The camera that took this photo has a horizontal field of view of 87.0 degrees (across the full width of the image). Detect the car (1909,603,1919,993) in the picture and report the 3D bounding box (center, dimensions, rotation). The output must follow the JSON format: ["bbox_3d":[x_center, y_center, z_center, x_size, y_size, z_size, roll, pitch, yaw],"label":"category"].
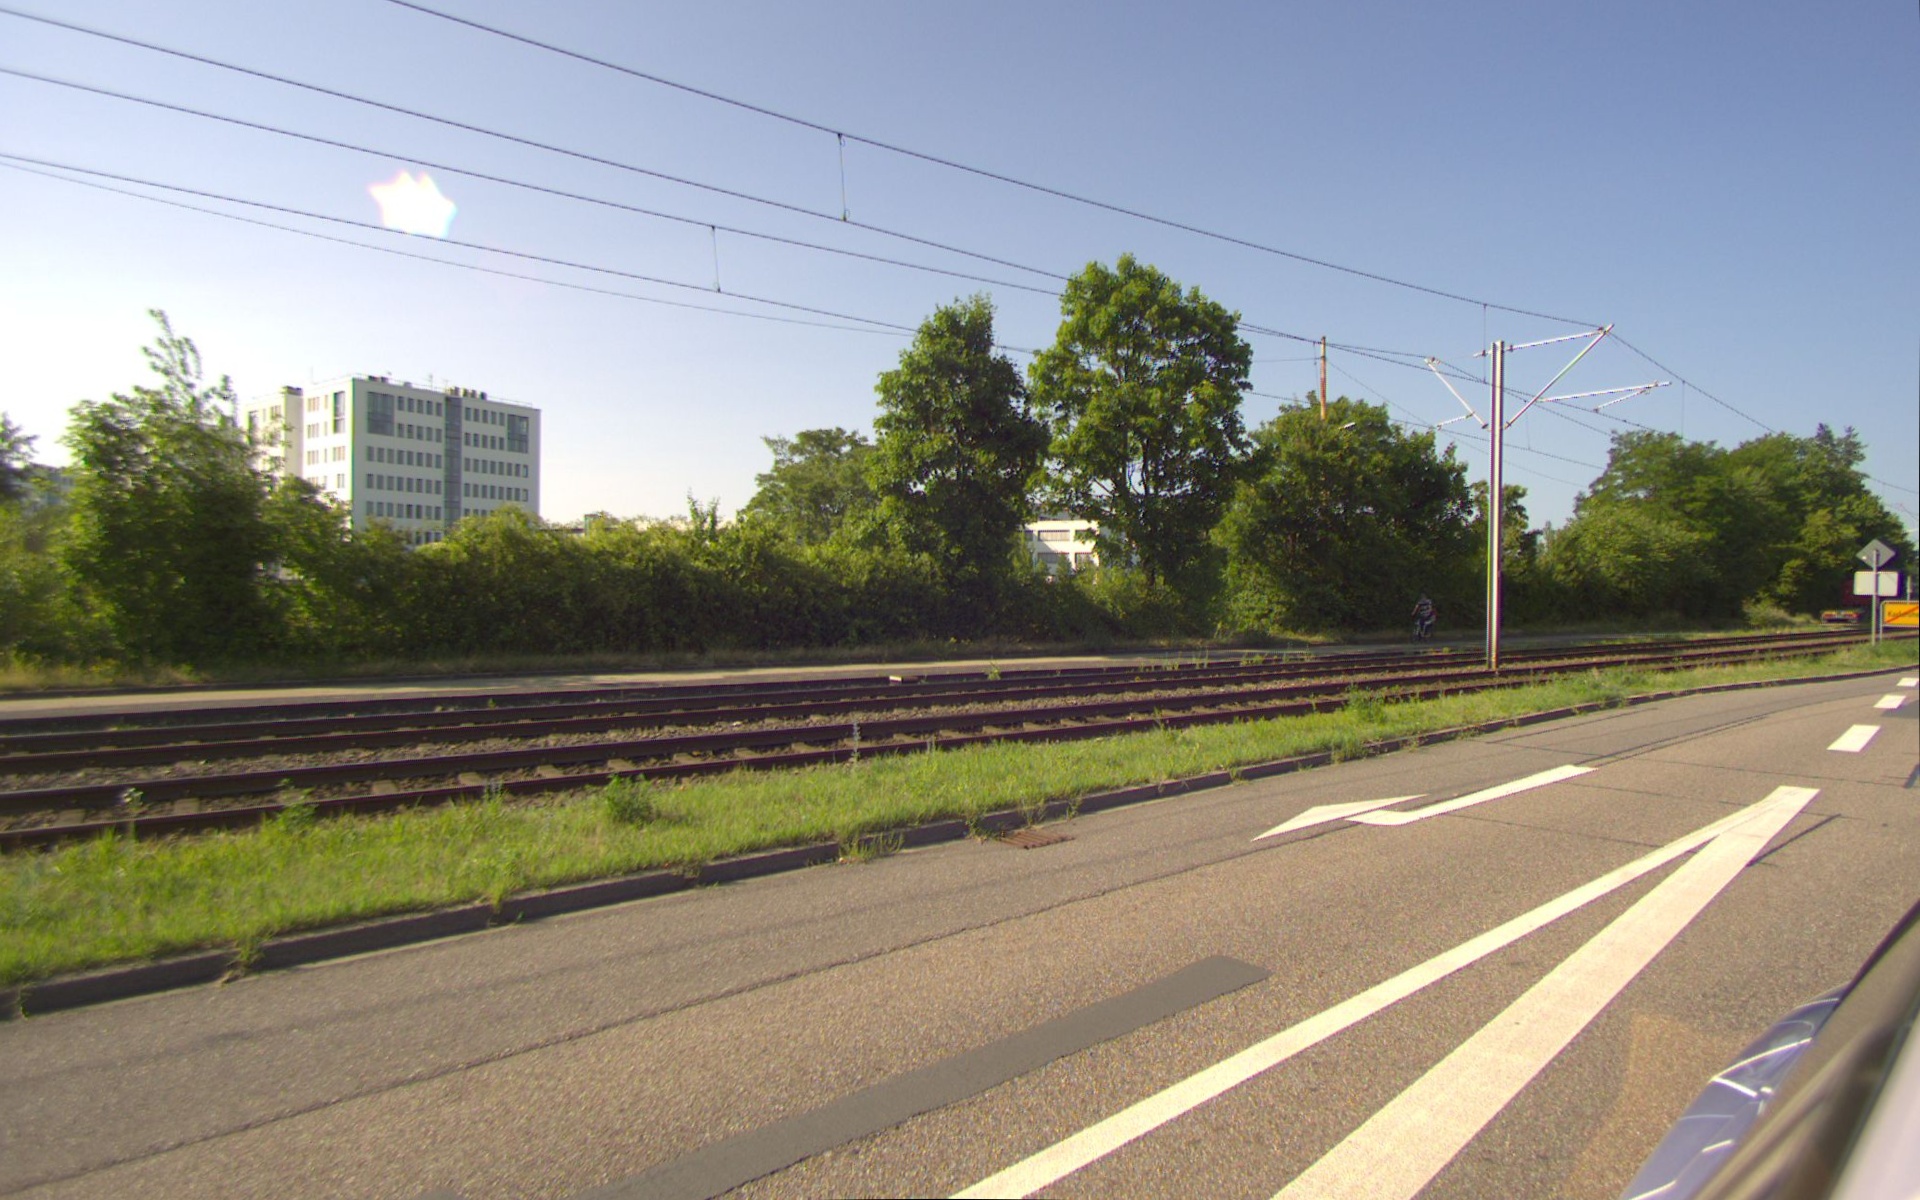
[{"bbox_3d":[5.773,0.729,4.509,4.383,1.442,1.819,0,0,-41],"label":"car"}]

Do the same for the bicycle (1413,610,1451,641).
[{"bbox_3d":[17.211,0.908,36.877,1.841,1.060,0.546,0,1,-41],"label":"bicycle"}]

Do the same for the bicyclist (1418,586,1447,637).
[{"bbox_3d":[17.228,0.397,36.889,0.705,1.830,0.708,0,0,-39],"label":"bicyclist"}]
